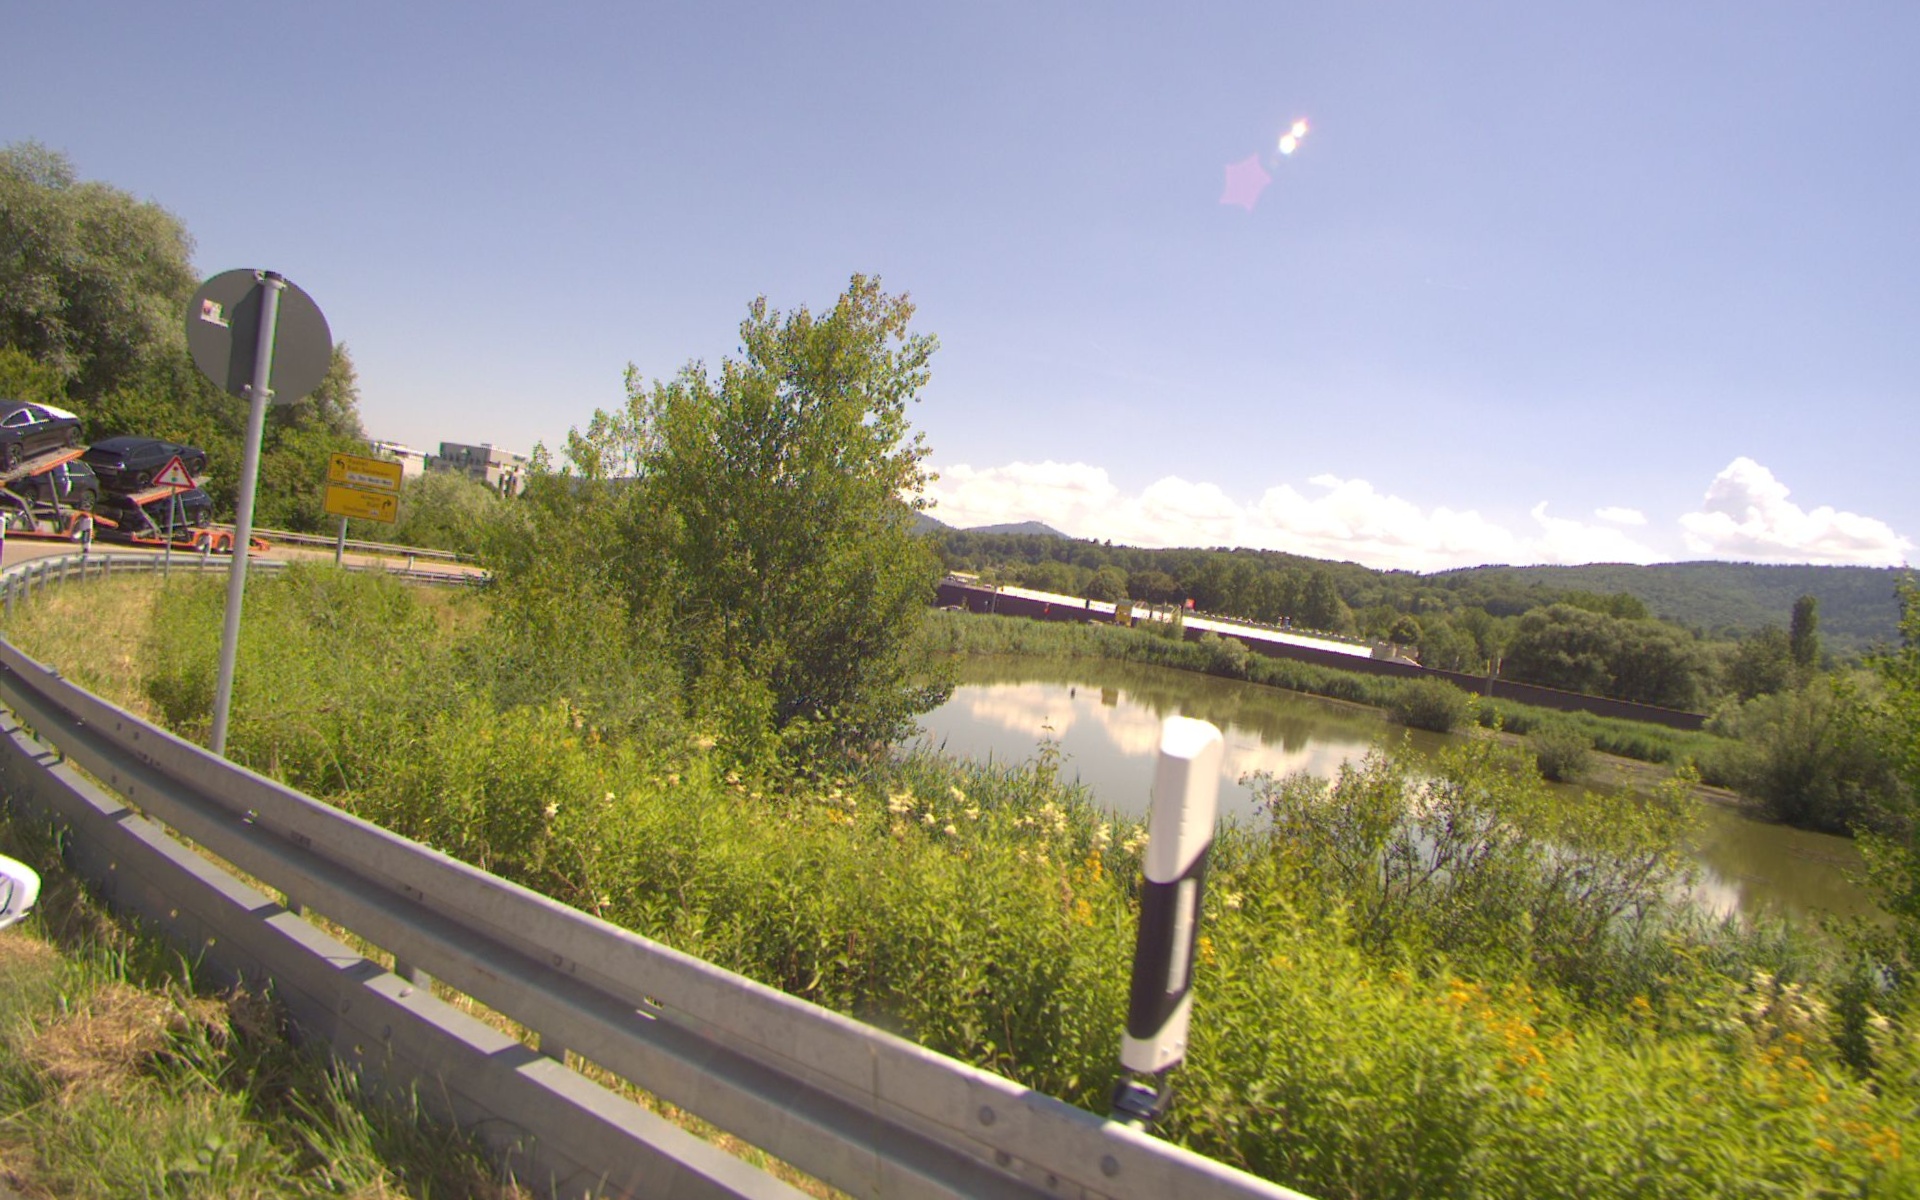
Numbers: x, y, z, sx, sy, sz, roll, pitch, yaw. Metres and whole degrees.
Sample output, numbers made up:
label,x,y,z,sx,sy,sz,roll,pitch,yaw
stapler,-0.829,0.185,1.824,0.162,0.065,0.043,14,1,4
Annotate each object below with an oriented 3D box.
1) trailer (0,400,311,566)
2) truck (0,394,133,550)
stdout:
label,x,y,z,sx,sy,sz,roll,pitch,yaw
trailer,-29.421,-3.809,37.236,2.755,3.941,13.977,10,-2,-7
truck,-27.859,-3.830,28.565,2.757,3.941,8.758,10,-2,-14
